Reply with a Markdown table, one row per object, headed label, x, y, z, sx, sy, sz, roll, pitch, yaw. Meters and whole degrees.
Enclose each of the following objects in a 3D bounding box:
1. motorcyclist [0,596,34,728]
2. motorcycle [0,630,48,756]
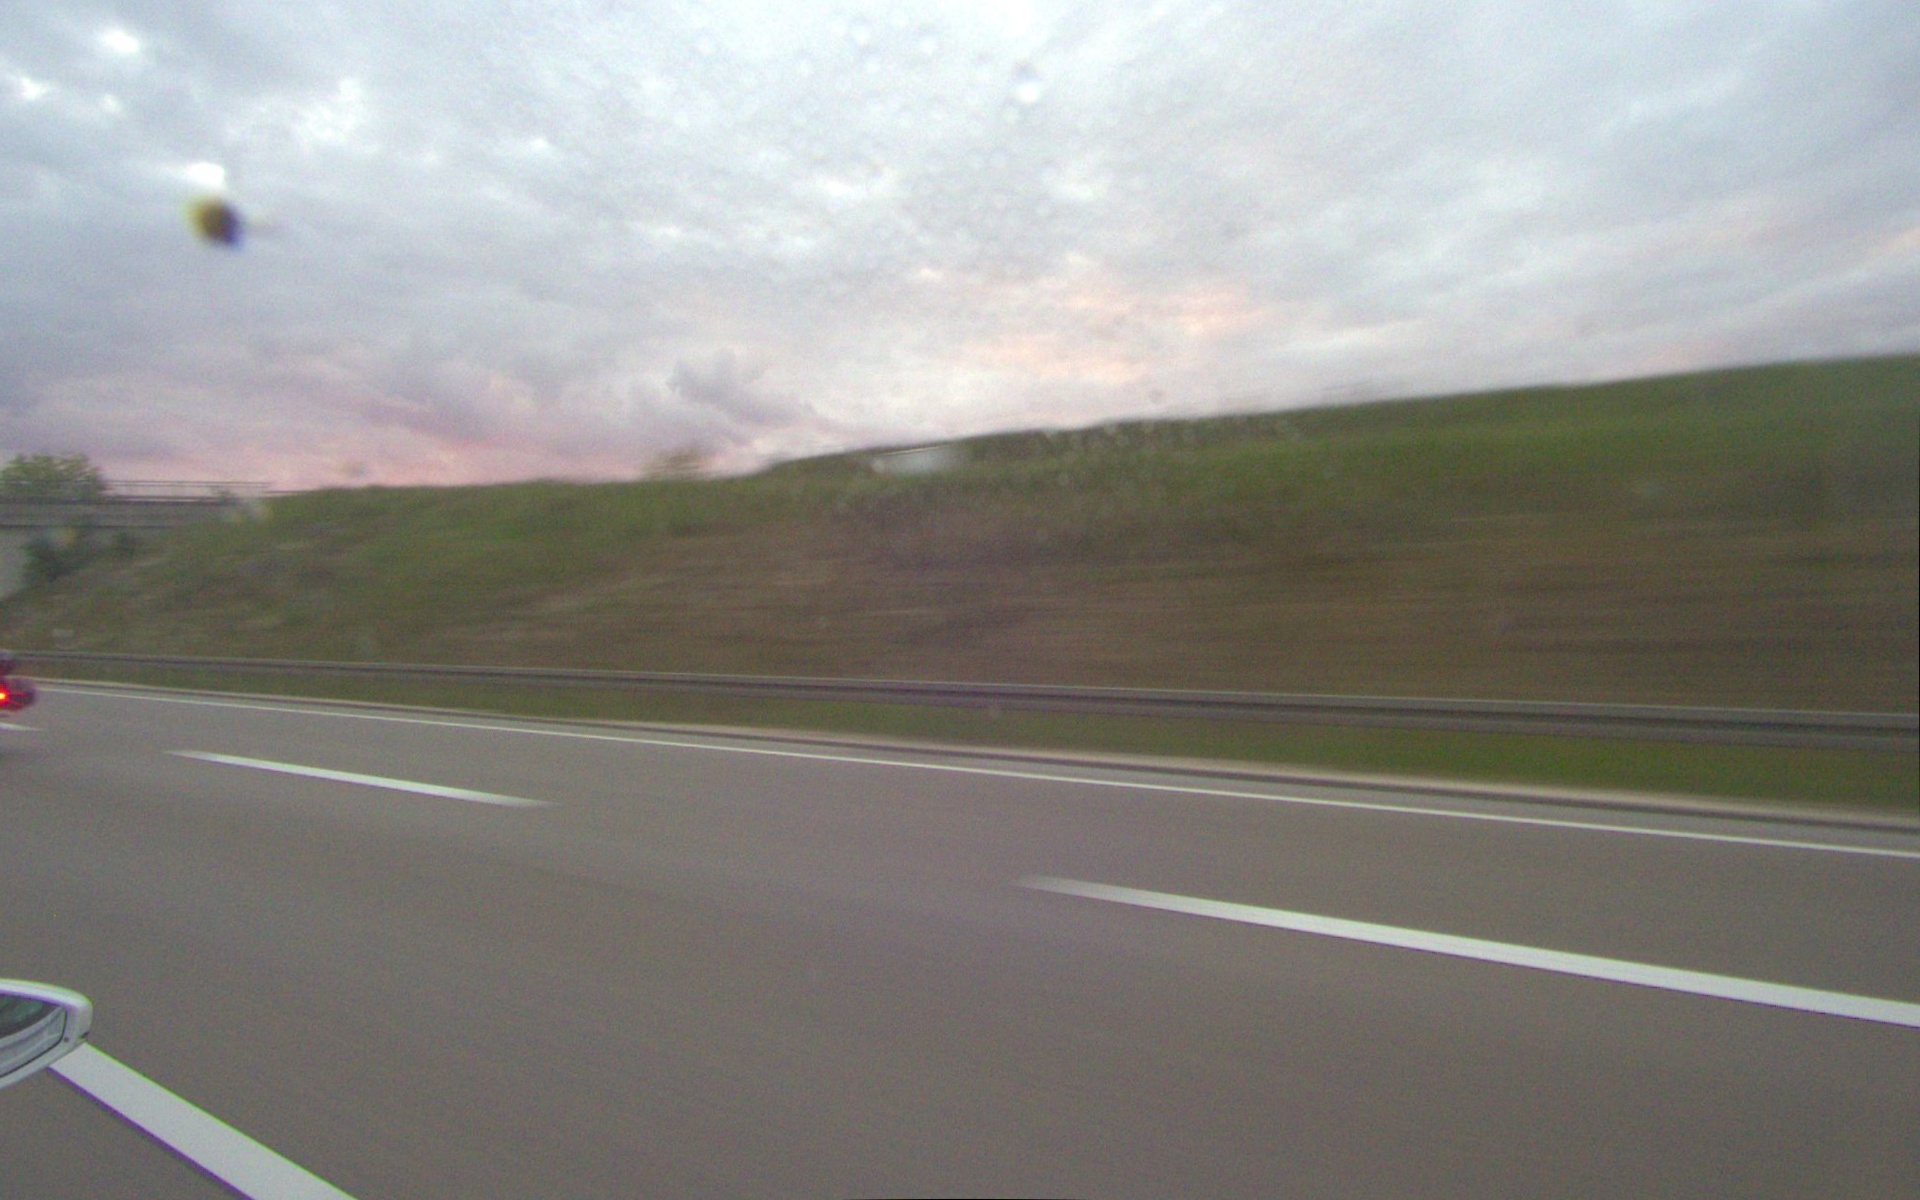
| label | x | y | z | sx | sy | sz | roll | pitch | yaw |
| --- | --- | --- | --- | --- | --- | --- | --- | --- | --- |
| motorcyclist | -11.531 | 0.708 | 11.641 | 1.152 | 1.507 | 0.864 | 0 | -1 | 34 |
| motorcycle | -11.665 | 1.048 | 11.722 | 2.315 | 1.364 | 0.900 | 0 | 0 | 33 |
